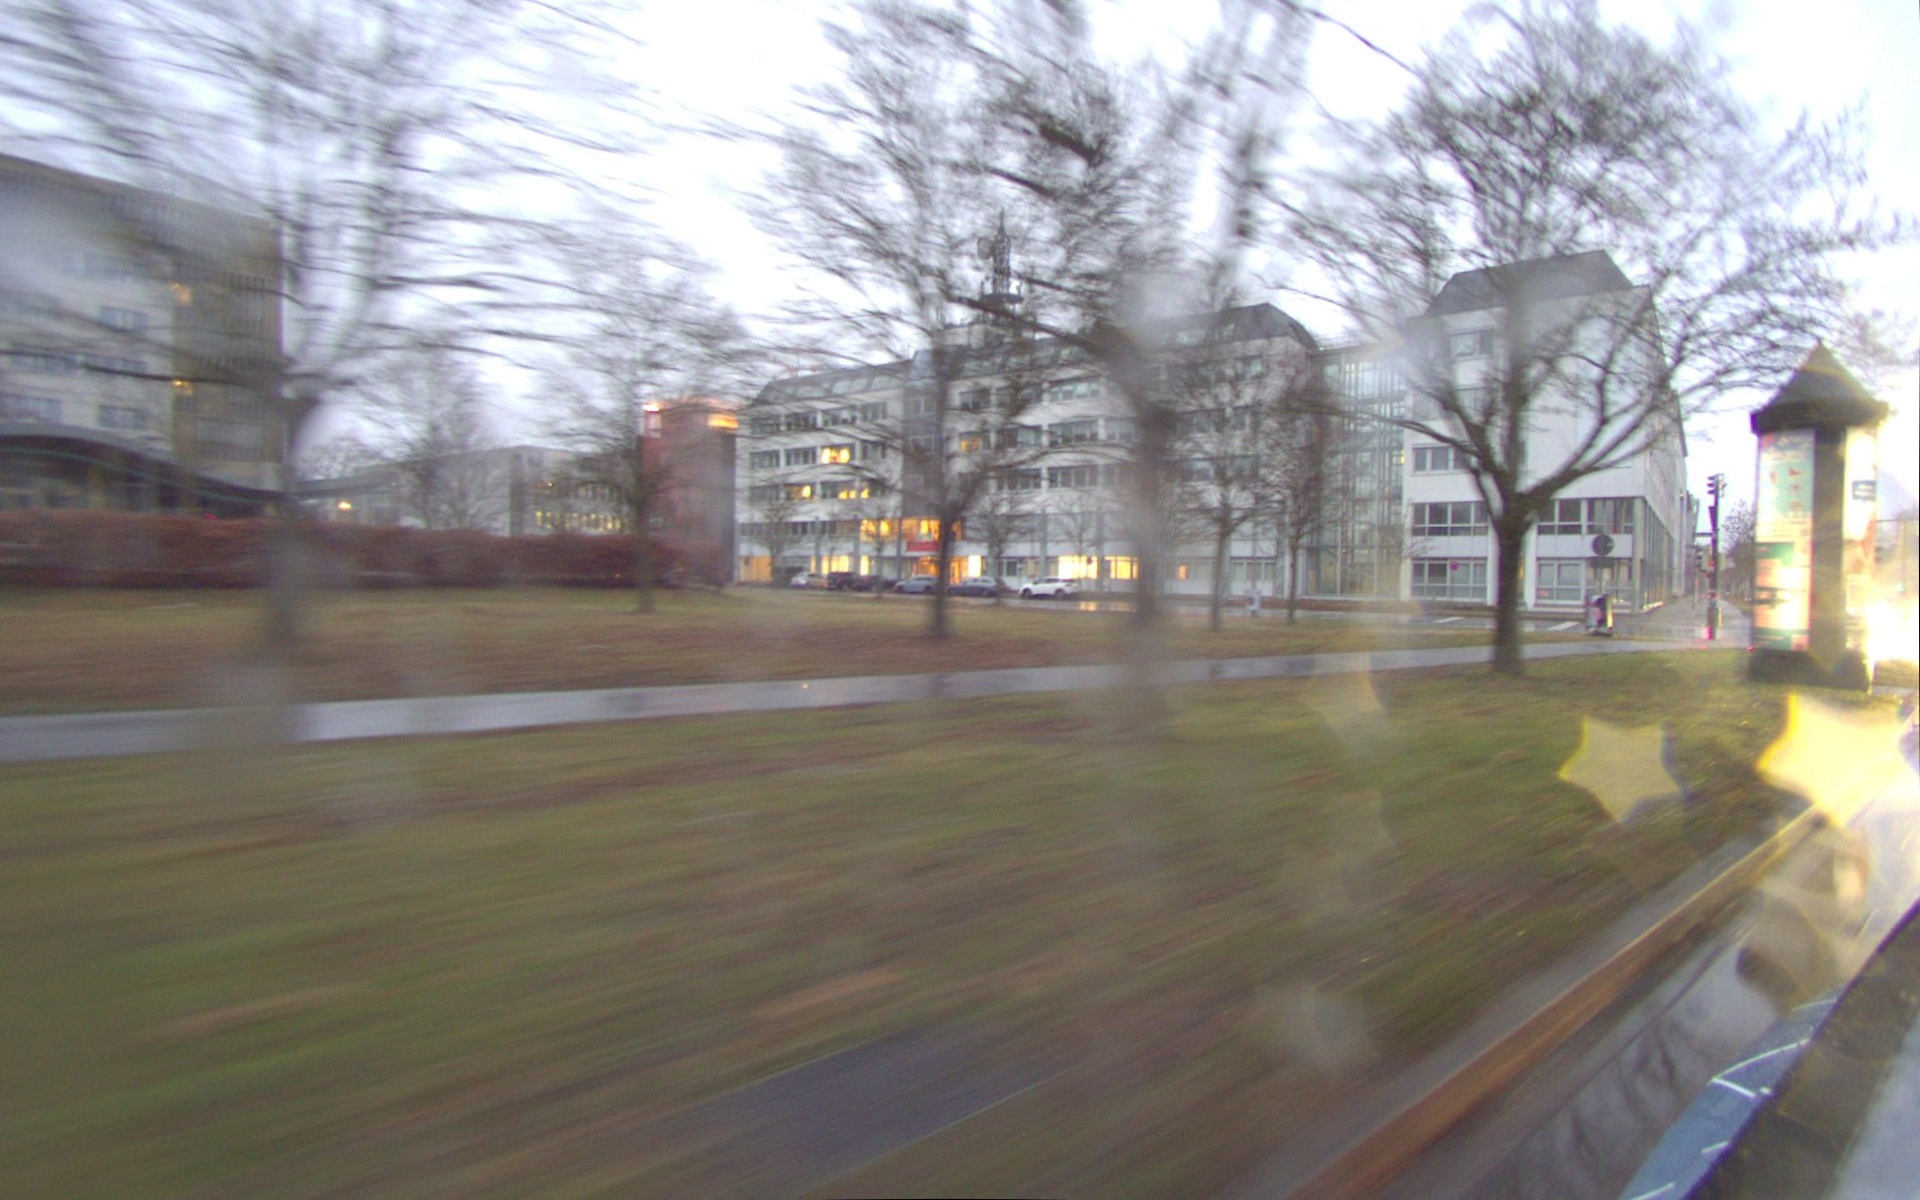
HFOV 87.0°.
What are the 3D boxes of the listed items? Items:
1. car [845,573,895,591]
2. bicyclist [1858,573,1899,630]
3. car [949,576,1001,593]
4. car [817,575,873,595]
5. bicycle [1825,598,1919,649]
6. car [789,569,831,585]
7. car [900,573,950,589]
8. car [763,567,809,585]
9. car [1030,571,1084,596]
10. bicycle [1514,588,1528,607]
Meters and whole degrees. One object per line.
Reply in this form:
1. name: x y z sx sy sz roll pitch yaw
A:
1. car: -7.384 -1.493 83.263 1.763 1.439 4.079 0 2 38
2. bicyclist: 24.112 0.028 26.576 0.750 1.448 0.914 0 1 40
3. car: 1.096 -1.142 76.012 3.695 1.199 1.522 0 1 34
4. car: -9.672 -1.289 85.352 1.764 1.575 4.745 0 2 40
5. bicycle: 24.102 0.595 26.584 1.957 1.231 1.027 2 1 35
6. car: -13.064 -1.986 88.142 1.696 1.329 3.450 0 2 38
7. car: -2.737 -1.474 79.064 3.770 1.241 1.360 0 1 34
8. car: -15.350 -2.143 89.444 1.598 1.548 4.069 0 1 37
9. car: 6.746 -1.169 70.467 3.263 1.657 1.972 0 1 40
10. bicycle: 32.838 -0.151 59.261 0.469 1.118 1.850 2 2 37
